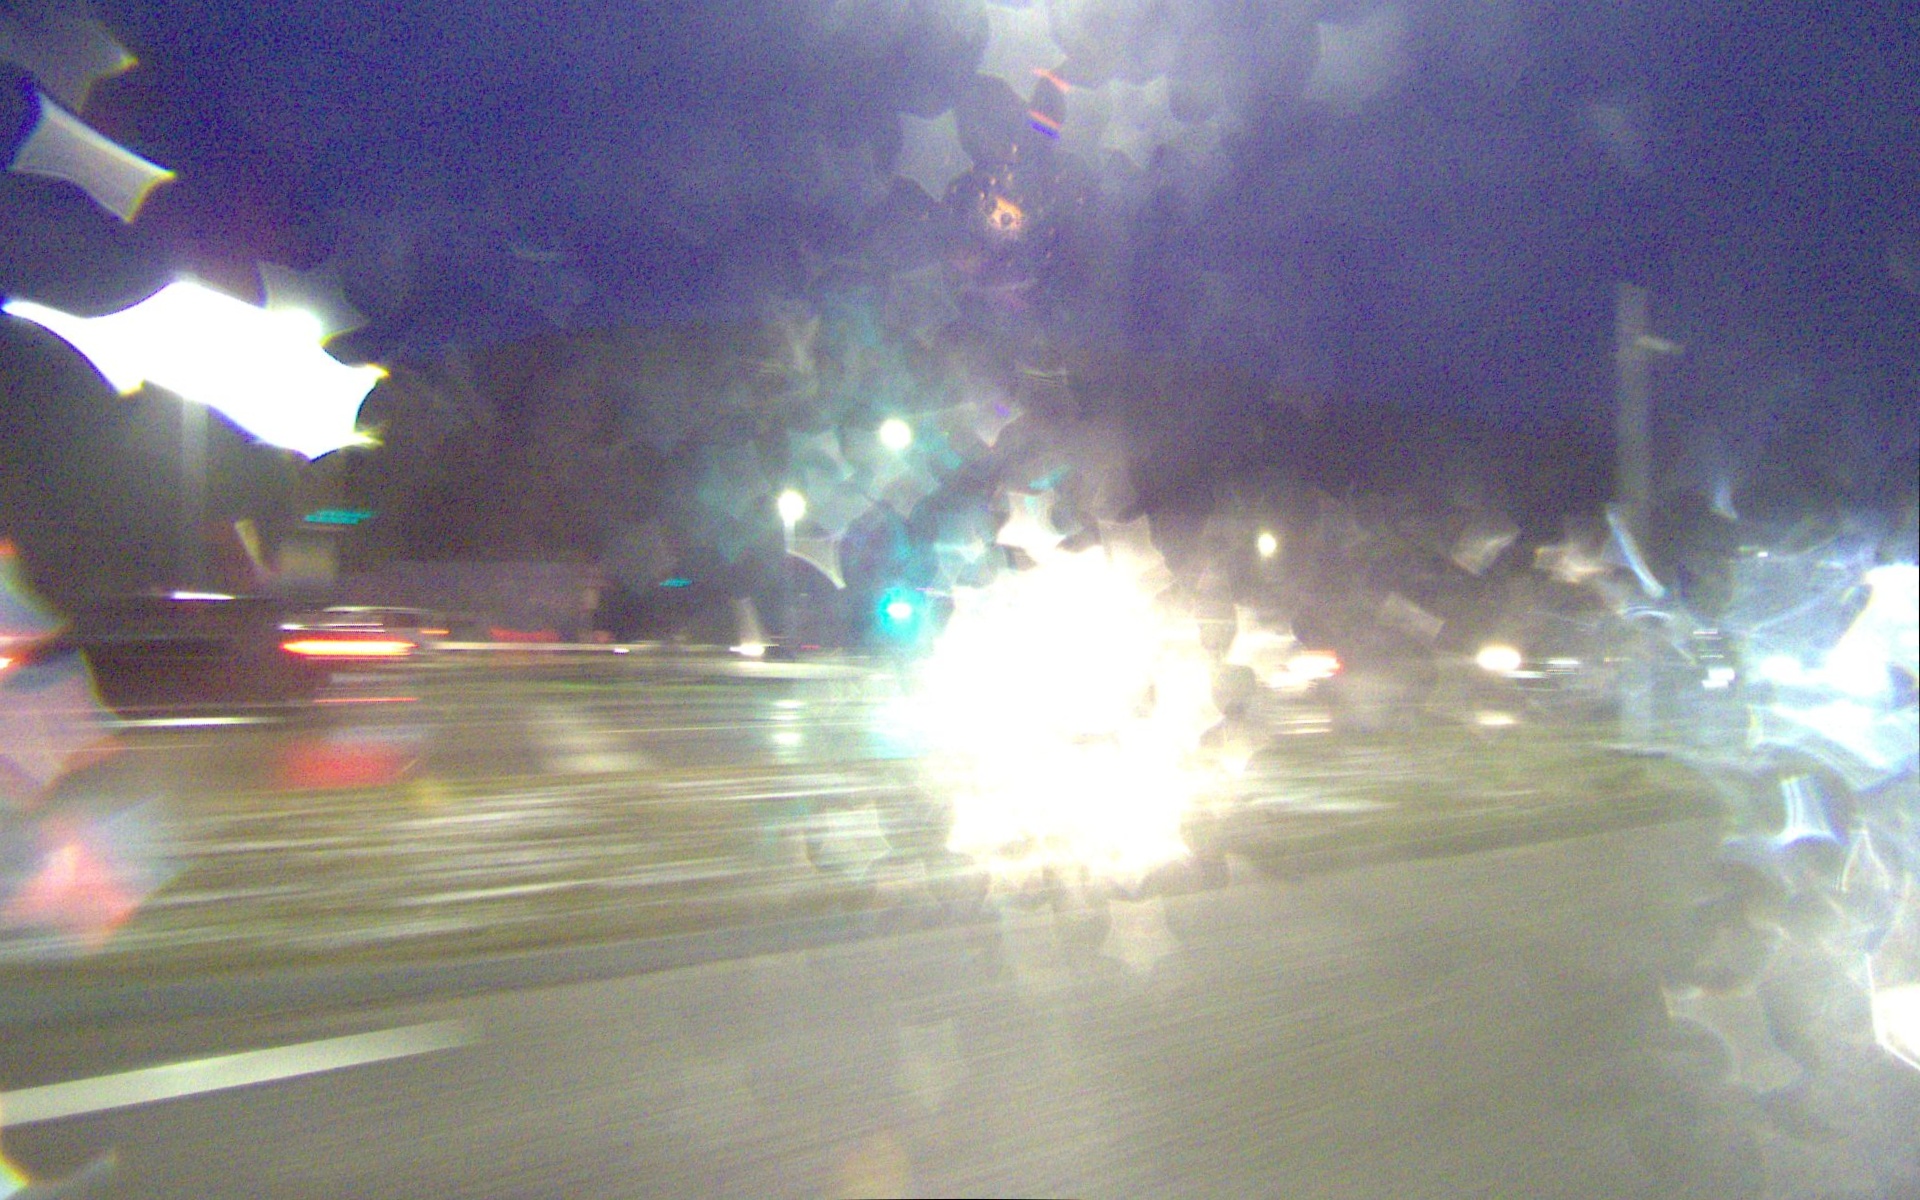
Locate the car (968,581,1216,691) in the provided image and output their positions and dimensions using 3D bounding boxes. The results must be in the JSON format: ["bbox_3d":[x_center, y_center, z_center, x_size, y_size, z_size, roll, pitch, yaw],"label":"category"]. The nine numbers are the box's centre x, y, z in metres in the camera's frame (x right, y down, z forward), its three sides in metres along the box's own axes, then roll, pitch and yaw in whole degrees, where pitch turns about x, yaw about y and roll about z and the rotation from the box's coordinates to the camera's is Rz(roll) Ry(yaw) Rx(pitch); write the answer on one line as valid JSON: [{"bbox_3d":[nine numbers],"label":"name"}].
[{"bbox_3d":[2.365,0.657,17.908,3.951,1.743,1.986,3,-1,-28],"label":"car"}]

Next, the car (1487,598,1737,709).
[{"bbox_3d":[11.215,0.922,17.253,4.087,1.725,1.712,3,-1,-25],"label":"car"}]

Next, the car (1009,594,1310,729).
[{"bbox_3d":[2.604,0.790,13.021,3.605,1.546,1.579,3,-1,-27],"label":"car"}]

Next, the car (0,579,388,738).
[{"bbox_3d":[-8.248,0.604,10.697,3.684,1.473,1.660,3,-1,-30],"label":"car"}]

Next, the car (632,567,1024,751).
[{"bbox_3d":[-1.414,0.640,11.022,3.899,1.713,1.674,3,-1,-28],"label":"car"}]

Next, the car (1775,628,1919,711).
[{"bbox_3d":[19.127,1.443,20.783,4.538,1.554,1.703,3,-1,-25],"label":"car"}]

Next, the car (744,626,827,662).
[{"bbox_3d":[-9.595,2.426,55.327,4.061,1.806,1.980,3,-2,-35],"label":"car"}]

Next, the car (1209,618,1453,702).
[{"bbox_3d":[6.835,1.095,18.410,4.354,1.372,1.711,3,-1,-28],"label":"car"}]

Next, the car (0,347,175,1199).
[{"bbox_3d":[-3.702,0.447,0.566,4.883,1.726,1.899,2,-1,-32],"label":"car"}]

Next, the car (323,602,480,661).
[{"bbox_3d":[-20.717,1.189,37.537,1.961,1.965,4.923,2,-1,23],"label":"car"}]
